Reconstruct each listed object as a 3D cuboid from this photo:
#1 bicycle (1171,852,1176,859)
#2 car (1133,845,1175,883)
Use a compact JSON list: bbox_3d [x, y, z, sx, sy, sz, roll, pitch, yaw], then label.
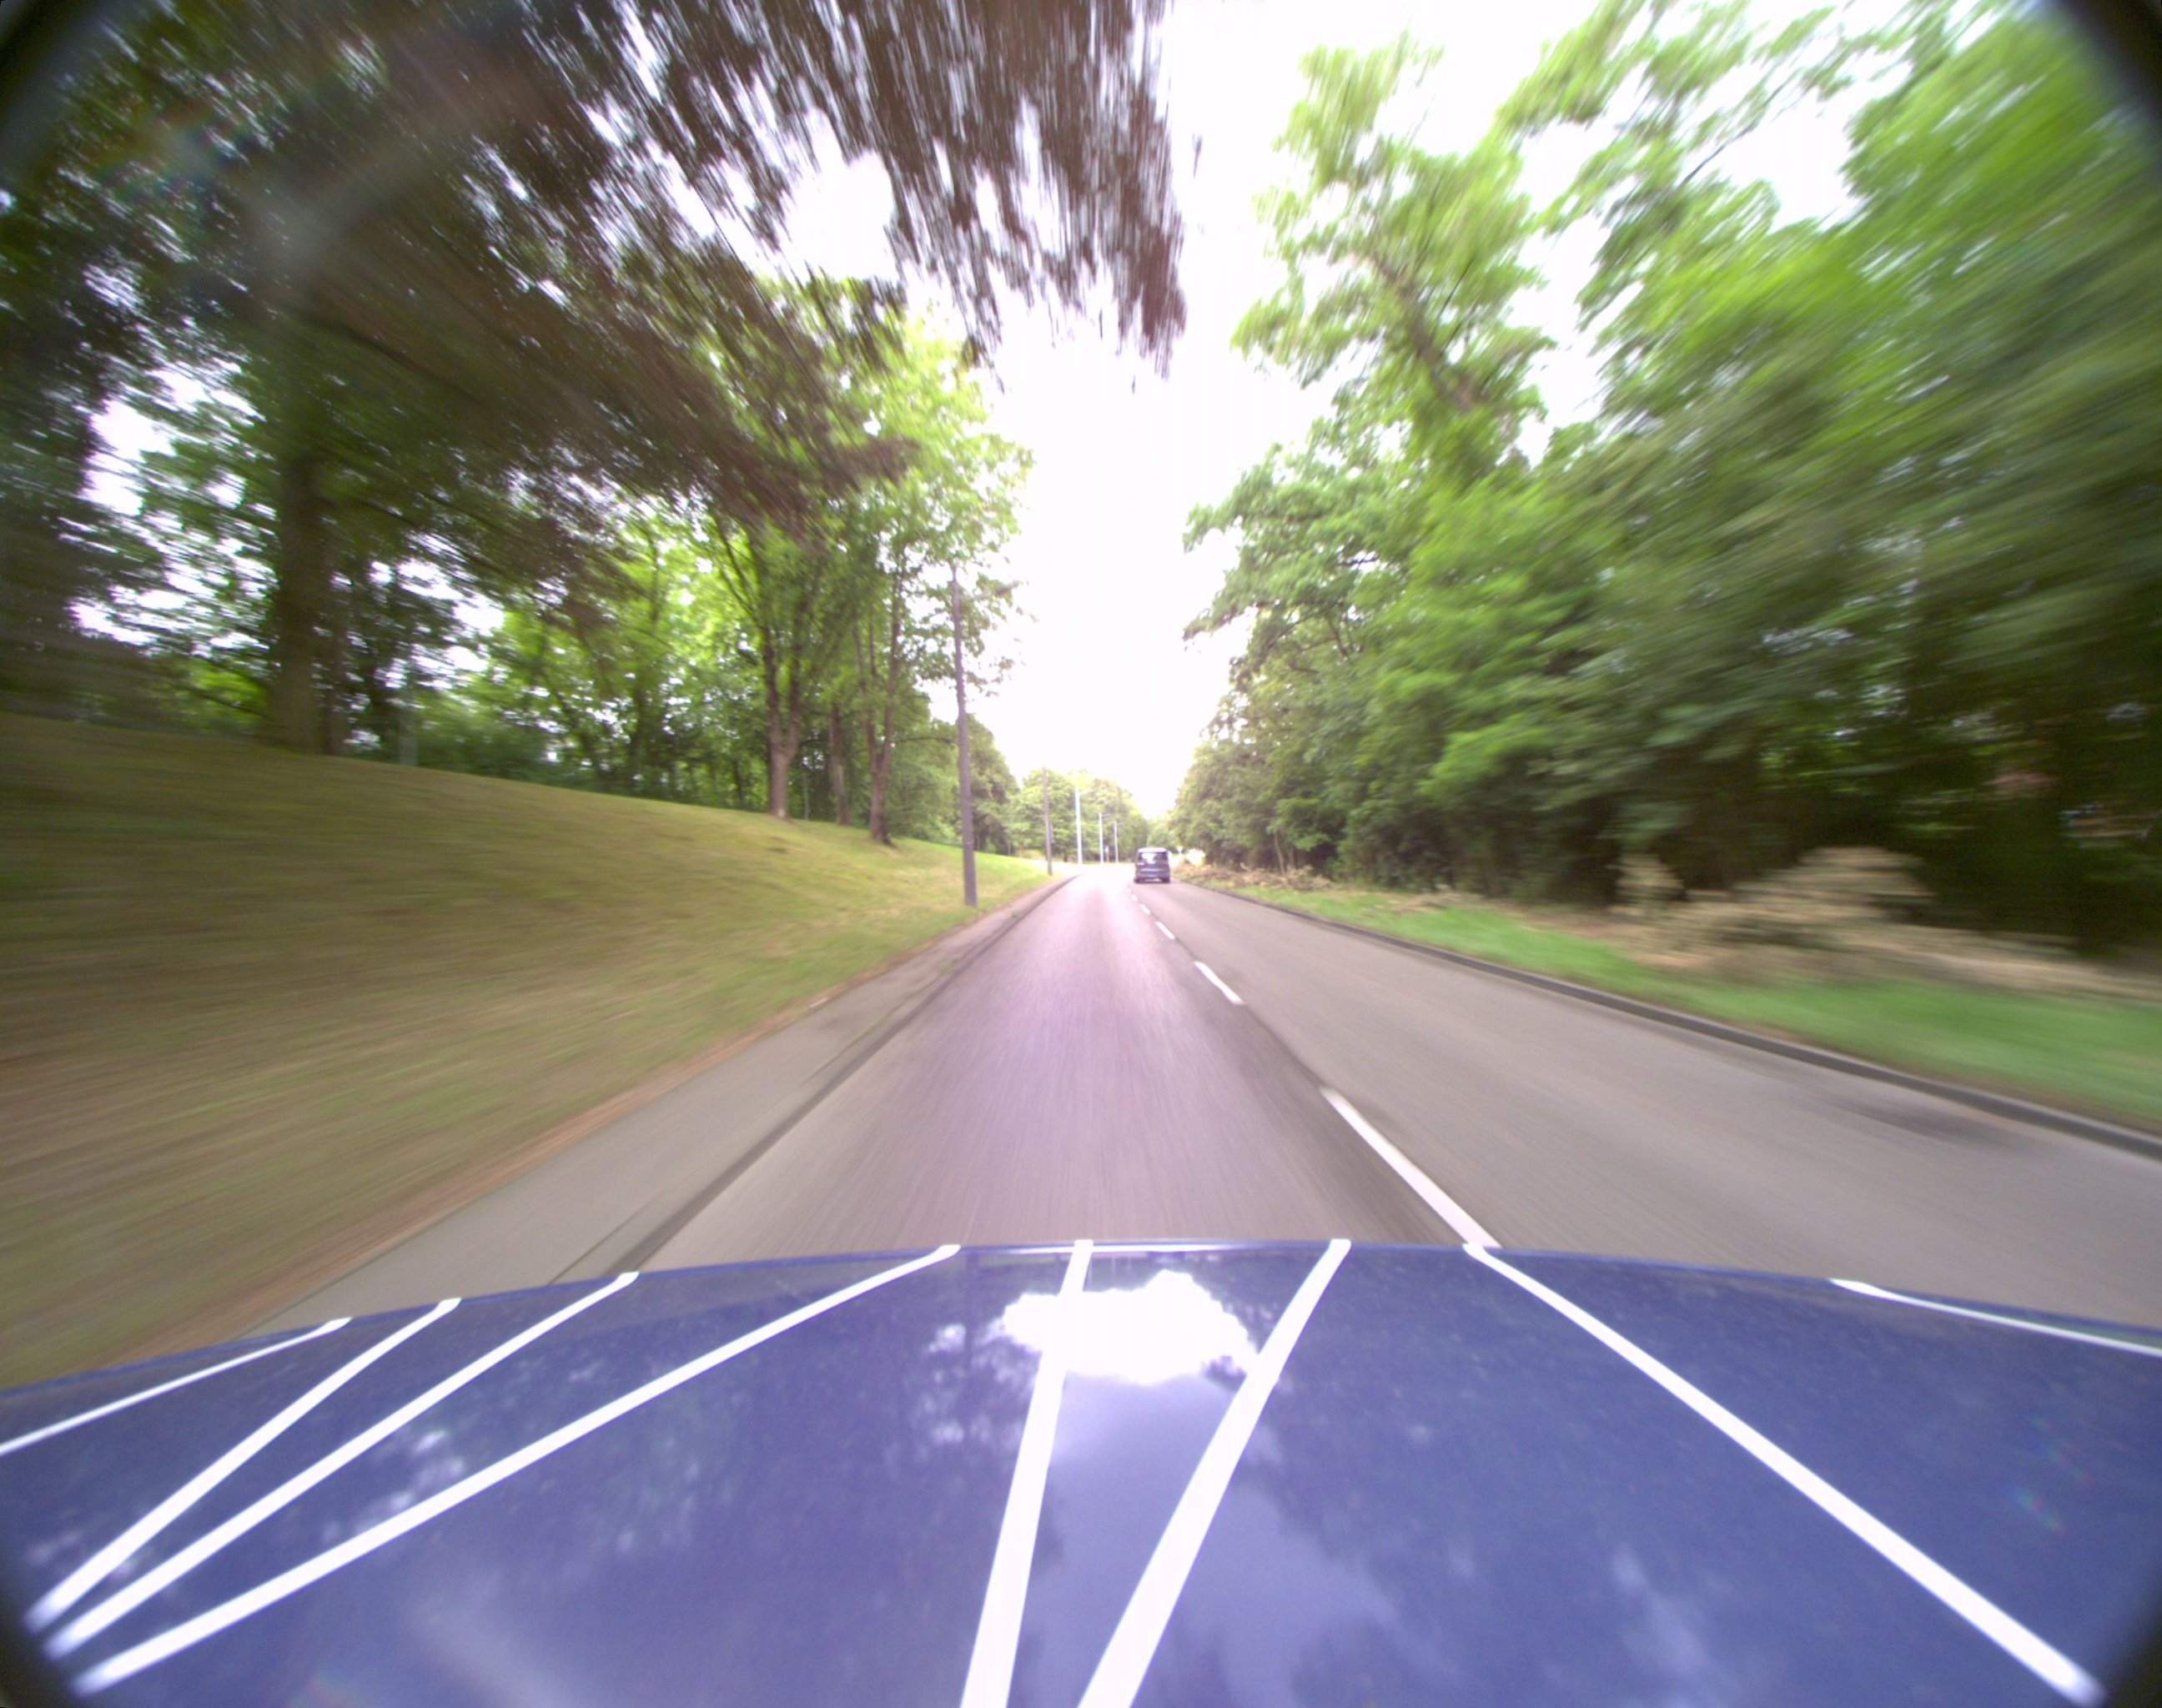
[{"bbox_3d":[15.243,0.226,125.072,0.666,1.068,2.147,-2,0,9],"label":"bicycle"},{"bbox_3d":[4.084,0.518,43.357,1.998,1.936,4.945,-2,1,2],"label":"car"}]
